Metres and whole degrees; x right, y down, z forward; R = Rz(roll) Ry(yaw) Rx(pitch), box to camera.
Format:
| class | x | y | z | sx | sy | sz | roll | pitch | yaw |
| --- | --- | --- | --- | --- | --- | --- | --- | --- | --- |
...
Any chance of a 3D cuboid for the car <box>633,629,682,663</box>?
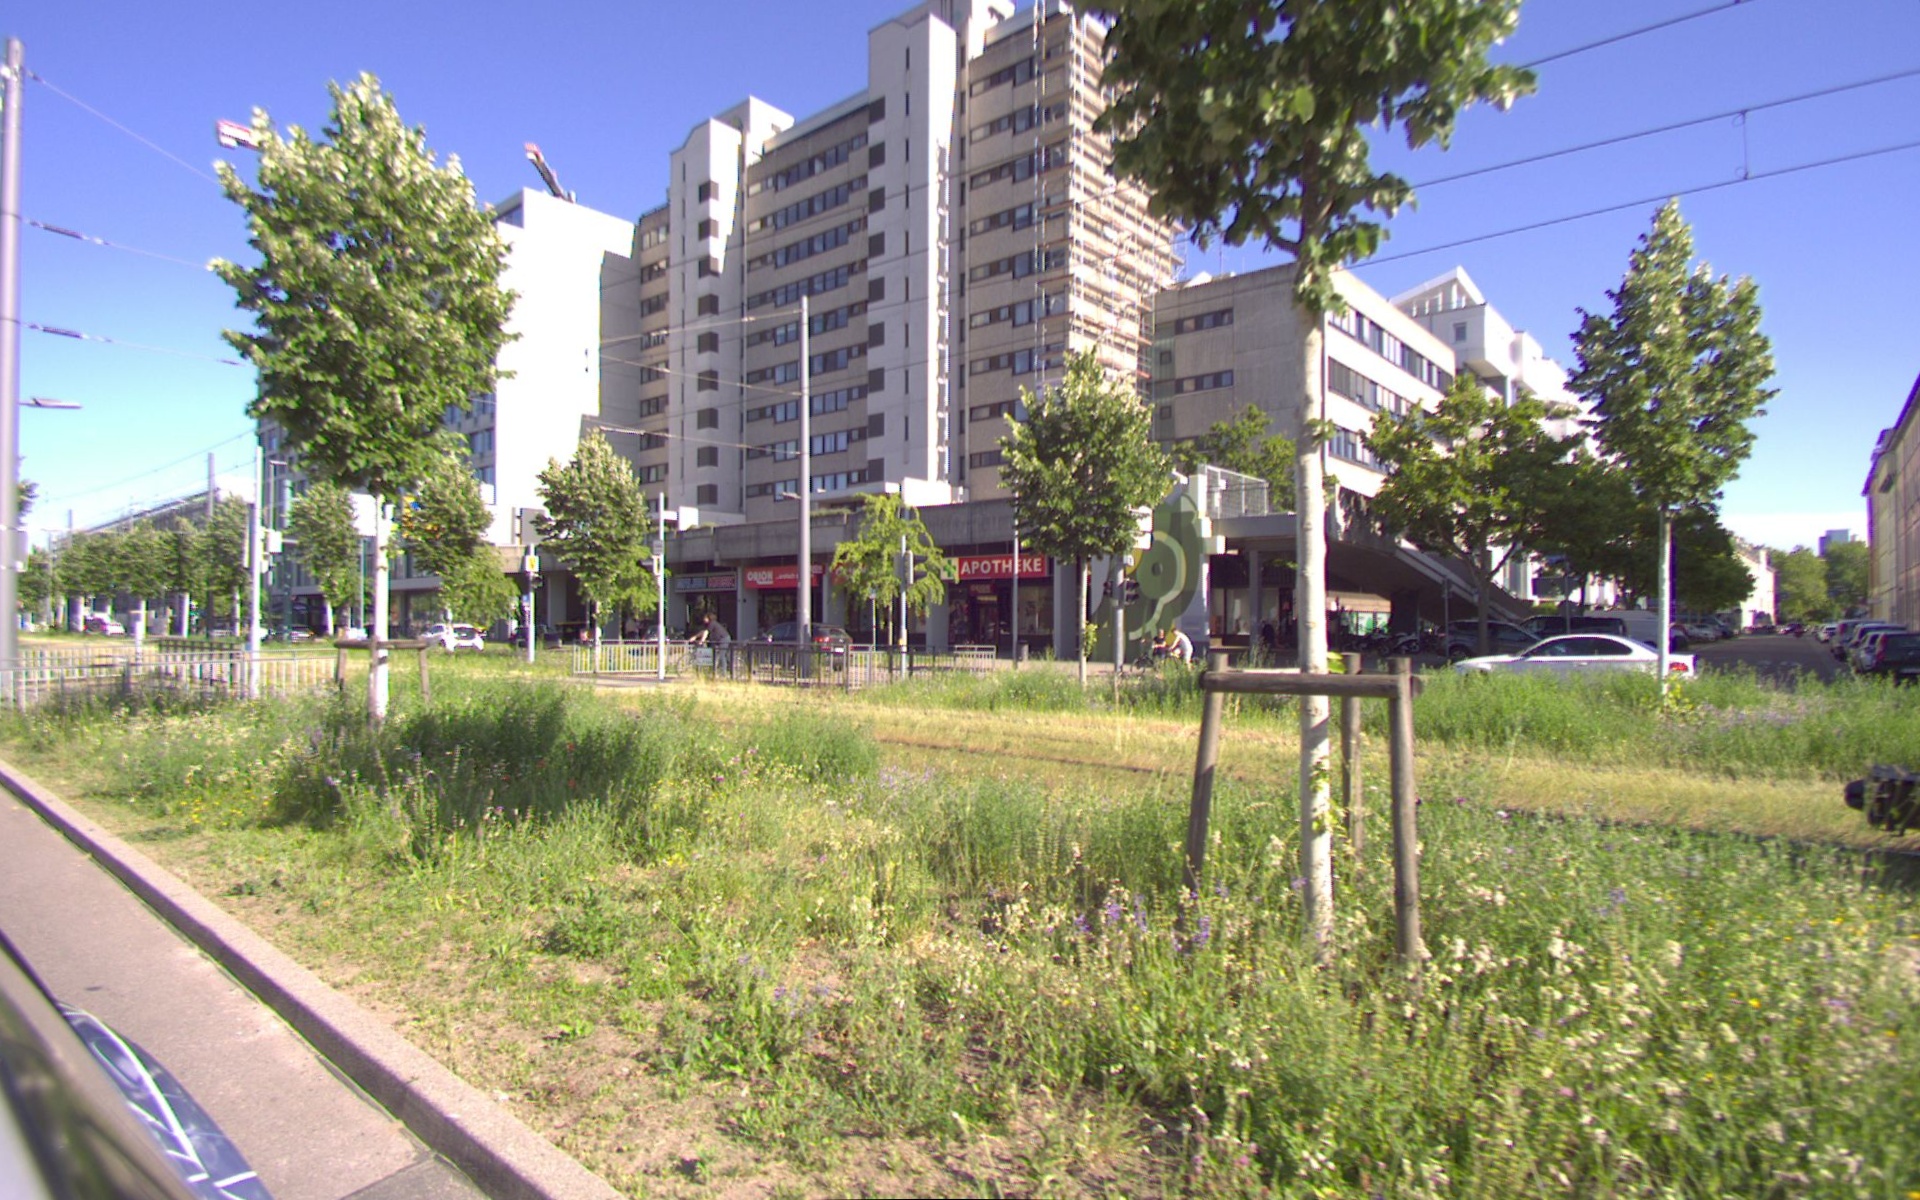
| class | x | y | z | sx | sy | sz | roll | pitch | yaw |
| --- | --- | --- | --- | --- | --- | --- | --- | --- | --- |
| car | -15.430 | 2.327 | 51.794 | 1.691 | 1.531 | 4.005 | -1 | 0 | -6 |

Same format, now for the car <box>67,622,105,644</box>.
| class | x | y | z | sx | sy | sz | roll | pitch | yaw |
| --- | --- | --- | --- | --- | --- | --- | --- | --- | --- |
| car | -75.134 | 2.810 | 86.965 | 4.284 | 1.833 | 1.973 | -1 | -1 | 42 |

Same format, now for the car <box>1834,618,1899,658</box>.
| class | x | y | z | sx | sy | sz | roll | pitch | yaw |
| --- | --- | --- | --- | --- | --- | --- | --- | --- | --- |
| car | 40.964 | 1.678 | 45.819 | 1.998 | 1.630 | 3.947 | -1 | -1 | 39 |

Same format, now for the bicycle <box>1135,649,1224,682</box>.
| class | x | y | z | sx | sy | sz | roll | pitch | yaw |
| --- | --- | --- | --- | --- | --- | --- | --- | --- | --- |
| bicycle | 6.871 | 2.060 | 31.741 | 2.636 | 0.958 | 0.563 | -1 | -1 | -1 |

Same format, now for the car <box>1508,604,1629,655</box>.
| class | x | y | z | sx | sy | sz | roll | pitch | yaw |
| --- | --- | --- | --- | --- | --- | --- | --- | --- | --- |
| car | 24.666 | 1.174 | 41.047 | 3.994 | 1.984 | 1.975 | -1 | -1 | 38 |

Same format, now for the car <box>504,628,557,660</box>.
| class | x | y | z | sx | sy | sz | roll | pitch | yaw |
| --- | --- | --- | --- | --- | --- | --- | --- | --- | --- |
| car | -25.040 | 2.546 | 59.179 | 1.768 | 1.696 | 4.005 | -1 | 0 | -6 |

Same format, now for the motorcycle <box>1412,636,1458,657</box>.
| class | x | y | z | sx | sy | sz | roll | pitch | yaw |
| --- | --- | --- | --- | --- | --- | --- | --- | --- | --- |
| motorcycle | 22.735 | 2.208 | 48.499 | 1.947 | 0.968 | 0.447 | -1 | -1 | 42 |

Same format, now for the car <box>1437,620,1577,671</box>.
| class | x | y | z | sx | sy | sz | roll | pitch | yaw |
| --- | --- | --- | --- | --- | --- | --- | --- | --- | --- |
| car | 19.166 | 1.535 | 35.549 | 3.998 | 1.652 | 1.973 | -1 | -1 | 41 |

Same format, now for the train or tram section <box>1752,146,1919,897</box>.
| class | x | y | z | sx | sy | sz | roll | pitch | yaw |
| --- | --- | --- | --- | --- | --- | --- | --- | --- | --- |
| train or tram section | 10.296 | -0.485 | 1.620 | 14.139 | 3.697 | 1.973 | -1 | -1 | 40 |

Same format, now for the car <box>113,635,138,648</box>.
| class | x | y | z | sx | sy | sz | roll | pitch | yaw |
| --- | --- | --- | --- | --- | --- | --- | --- | --- | --- |
| car | -104.863 | 5.147 | 127.144 | 3.811 | 1.519 | 1.804 | -1 | -1 | 41 |

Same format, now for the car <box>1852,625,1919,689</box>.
| class | x | y | z | sx | sy | sz | roll | pitch | yaw |
| --- | --- | --- | --- | --- | --- | --- | --- | --- | --- |
| car | 26.986 | 1.574 | 28.983 | 1.998 | 1.630 | 3.947 | -1 | -1 | 39 |

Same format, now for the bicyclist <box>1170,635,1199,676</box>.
| class | x | y | z | sx | sy | sz | roll | pitch | yaw |
| --- | --- | --- | --- | --- | --- | --- | --- | --- | --- |
| bicyclist | 6.854 | 1.693 | 30.931 | 0.757 | 1.234 | 0.580 | -1 | -1 | 0 |

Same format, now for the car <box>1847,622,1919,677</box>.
| class | x | y | z | sx | sy | sz | roll | pitch | yaw |
| --- | --- | --- | --- | --- | --- | --- | --- | --- | --- |
| car | 30.751 | 1.581 | 33.431 | 1.998 | 1.630 | 3.947 | -1 | -1 | 39 |

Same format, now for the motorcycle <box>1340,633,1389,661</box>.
| class | x | y | z | sx | sy | sz | roll | pitch | yaw |
| --- | --- | --- | --- | --- | --- | --- | --- | --- | --- |
| motorcycle | 16.995 | 1.959 | 42.531 | 1.875 | 1.114 | 0.440 | -1 | -1 | 42 |

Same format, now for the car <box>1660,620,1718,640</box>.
| class | x | y | z | sx | sy | sz | roll | pitch | yaw |
| --- | --- | --- | --- | --- | --- | --- | --- | --- | --- |
| car | 62.158 | 2.576 | 86.317 | 3.993 | 1.652 | 1.975 | -1 | -1 | 37 |

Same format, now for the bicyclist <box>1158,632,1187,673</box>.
| class | x | y | z | sx | sy | sz | roll | pitch | yaw |
| --- | --- | --- | --- | --- | --- | --- | --- | --- | --- |
| bicyclist | 6.651 | 1.642 | 31.740 | 0.757 | 1.234 | 0.580 | -1 | -1 | 0 |

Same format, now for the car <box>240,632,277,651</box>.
| class | x | y | z | sx | sy | sz | roll | pitch | yaw |
| --- | --- | --- | --- | --- | --- | --- | --- | --- | --- |
| car | -63.079 | 3.711 | 90.929 | 3.770 | 1.561 | 1.841 | -1 | -1 | 41 |

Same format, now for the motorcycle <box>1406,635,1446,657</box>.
| class | x | y | z | sx | sy | sz | roll | pitch | yaw |
| --- | --- | --- | --- | --- | --- | --- | --- | --- | --- |
| motorcycle | 21.735 | 2.151 | 47.212 | 1.617 | 0.968 | 0.365 | -1 | -1 | 42 |

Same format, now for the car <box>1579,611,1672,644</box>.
| class | x | y | z | sx | sy | sz | roll | pitch | yaw |
| --- | --- | --- | --- | --- | --- | --- | --- | --- | --- |
| car | 35.404 | 1.444 | 53.898 | 3.994 | 1.652 | 1.975 | -1 | -1 | 38 |

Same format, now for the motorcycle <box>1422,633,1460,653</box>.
| class | x | y | z | sx | sy | sz | roll | pitch | yaw |
| --- | --- | --- | --- | --- | --- | --- | --- | --- | --- |
| motorcycle | 24.205 | 2.170 | 50.955 | 1.695 | 0.968 | 0.391 | -1 | -1 | 42 |

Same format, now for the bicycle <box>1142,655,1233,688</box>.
| class | x | y | z | sx | sy | sz | roll | pitch | yaw |
| --- | --- | --- | --- | --- | --- | --- | --- | --- | --- |
| bicycle | 6.946 | 2.177 | 30.916 | 2.636 | 0.958 | 0.563 | -1 | -1 | -1 |

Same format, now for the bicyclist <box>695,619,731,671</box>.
| class | x | y | z | sx | sy | sz | roll | pitch | yaw |
| --- | --- | --- | --- | --- | --- | --- | --- | --- | --- |
| bicyclist | -5.997 | 1.088 | 24.598 | 0.757 | 1.234 | 0.580 | -1 | -1 | -1 |

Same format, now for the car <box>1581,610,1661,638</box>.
| class | x | y | z | sx | sy | sz | roll | pitch | yaw |
| --- | --- | --- | --- | --- | --- | --- | --- | --- | --- |
| car | 40.662 | 1.441 | 62.290 | 3.994 | 1.652 | 1.975 | -1 | -1 | 38 |

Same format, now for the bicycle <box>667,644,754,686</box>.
| class | x | y | z | sx | sy | sz | roll | pitch | yaw |
| --- | --- | --- | --- | --- | --- | --- | --- | --- | --- |
| bicycle | -6.052 | 1.565 | 24.578 | 1.988 | 0.958 | 0.563 | -1 | -1 | -1 |

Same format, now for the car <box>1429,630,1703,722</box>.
| class | x | y | z | sx | sy | sz | roll | pitch | yaw |
| --- | --- | --- | --- | --- | --- | --- | --- | --- | --- |
| car | 12.109 | 1.434 | 20.364 | 4.502 | 1.590 | 1.974 | -1 | -1 | 39 |

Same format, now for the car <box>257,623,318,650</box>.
| class | x | y | z | sx | sy | sz | roll | pitch | yaw |
| --- | --- | --- | --- | --- | --- | --- | --- | --- | --- |
| car | -42.062 | 2.269 | 63.259 | 4.502 | 1.590 | 1.974 | -1 | -1 | 39 |

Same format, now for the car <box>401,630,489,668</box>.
| class | x | y | z | sx | sy | sz | roll | pitch | yaw |
| --- | --- | --- | --- | --- | --- | --- | --- | --- | --- |
| car | -23.804 | 2.222 | 46.692 | 4.502 | 1.590 | 1.974 | -1 | -1 | 39 |

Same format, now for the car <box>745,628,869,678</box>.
| class | x | y | z | sx | sy | sz | roll | pitch | yaw |
| --- | --- | --- | --- | --- | --- | --- | --- | --- | --- |
| car | -5.325 | 1.821 | 34.978 | 4.101 | 1.590 | 1.974 | -1 | -4 | 39 |

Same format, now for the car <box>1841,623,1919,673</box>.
| class | x | y | z | sx | sy | sz | roll | pitch | yaw |
| --- | --- | --- | --- | --- | --- | --- | --- | --- | --- |
| car | 33.691 | 1.705 | 37.070 | 1.998 | 1.630 | 3.947 | -1 | -1 | 39 |
